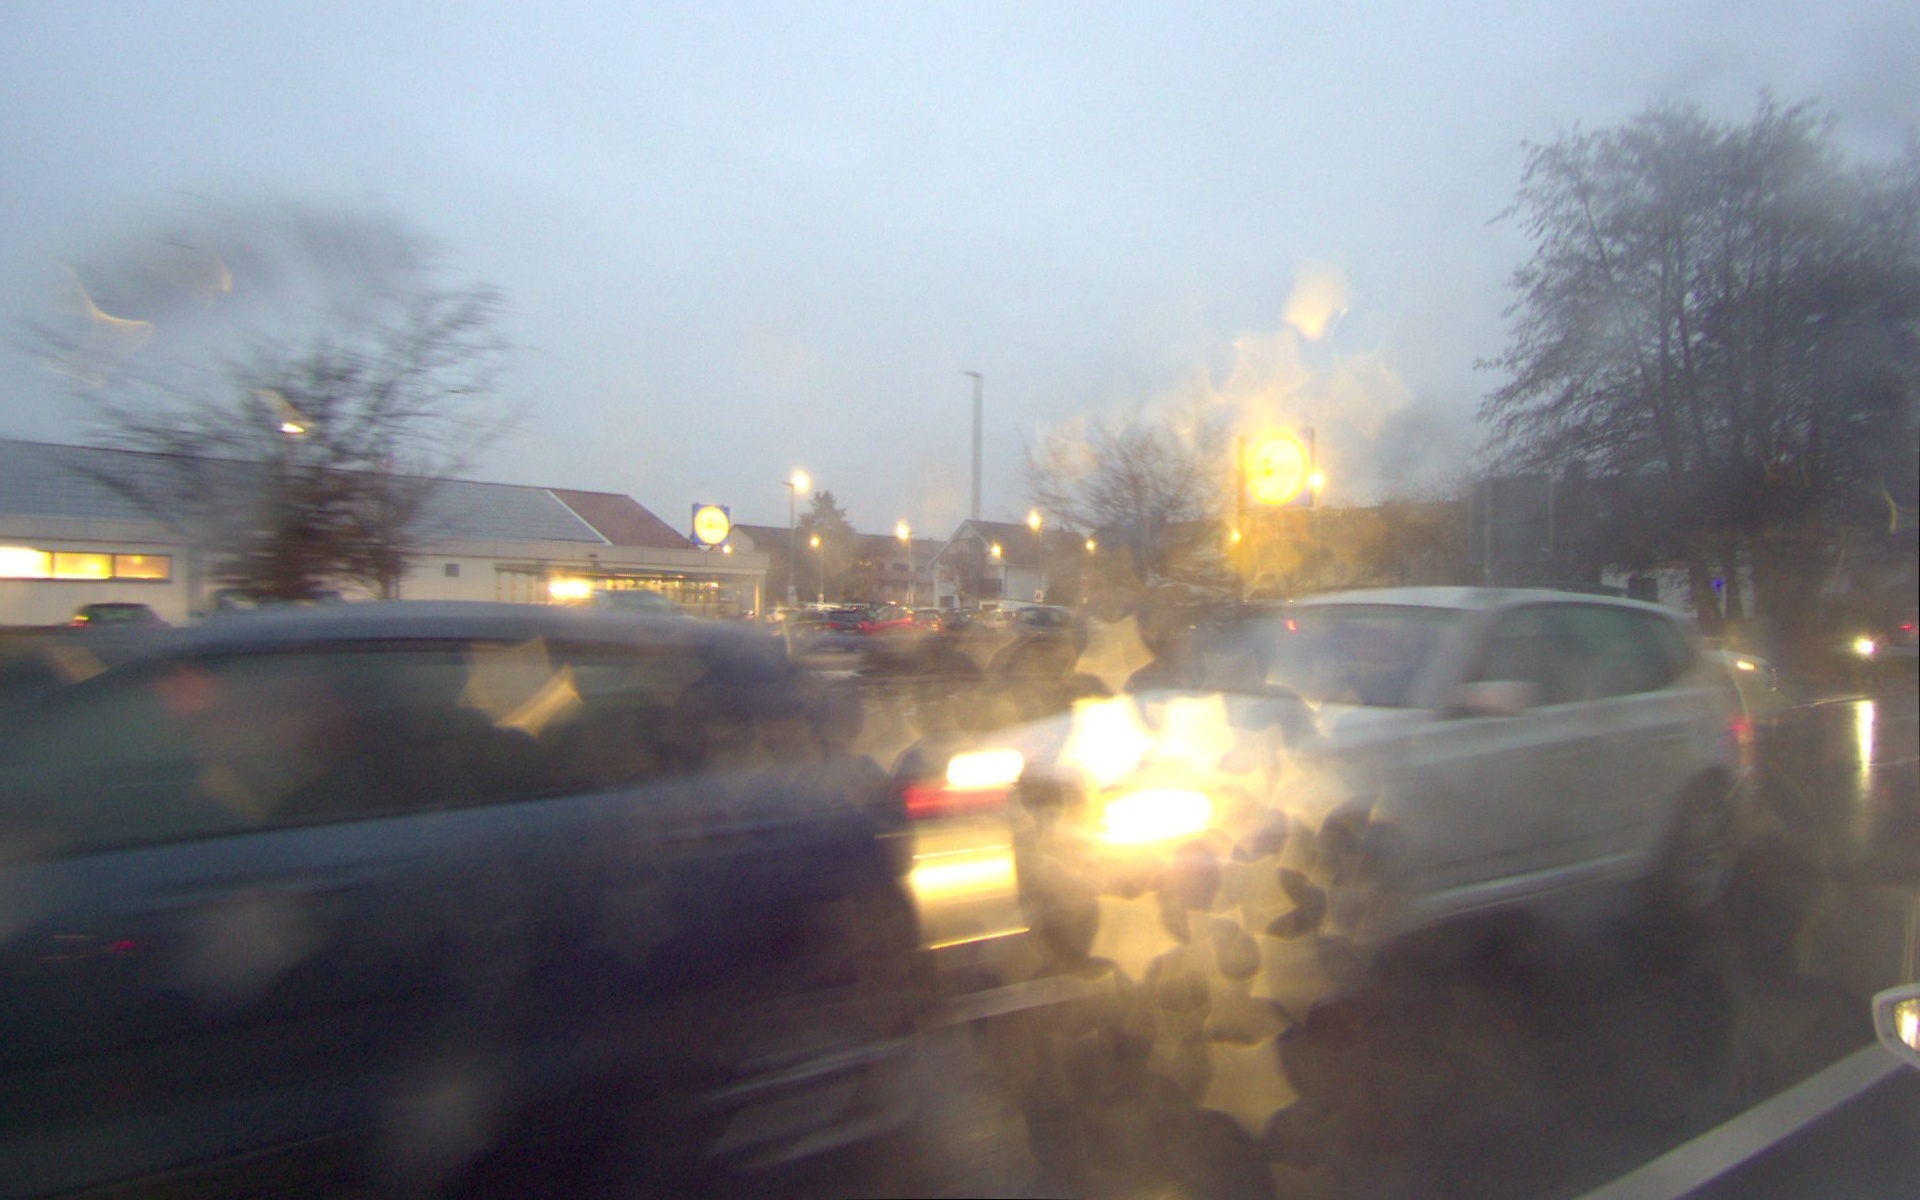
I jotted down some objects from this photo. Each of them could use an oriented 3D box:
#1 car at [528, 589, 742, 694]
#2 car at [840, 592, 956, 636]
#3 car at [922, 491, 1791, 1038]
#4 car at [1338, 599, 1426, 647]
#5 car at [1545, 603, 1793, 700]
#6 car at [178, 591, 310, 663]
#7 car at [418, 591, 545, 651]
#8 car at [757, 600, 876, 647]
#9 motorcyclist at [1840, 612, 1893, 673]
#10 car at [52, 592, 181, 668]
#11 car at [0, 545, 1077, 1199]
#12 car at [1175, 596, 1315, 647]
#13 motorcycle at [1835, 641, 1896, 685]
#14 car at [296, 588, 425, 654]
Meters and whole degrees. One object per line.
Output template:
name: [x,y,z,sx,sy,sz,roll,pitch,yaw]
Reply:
car: [-6.286,0.686,19.077,2.019,1.734,4.723,1,0,-44]
car: [-2.402,0.534,38.026,2.041,1.584,4.388,0,-1,-43]
car: [2.148,0.557,5.081,4.369,1.746,1.763,1,0,-30]
car: [22.555,1.171,53.601,5.229,2.310,2.259,-1,3,-42]
car: [15.724,1.054,22.433,1.887,1.722,4.185,1,2,-43]
car: [-17.483,0.634,24.447,2.041,1.584,4.388,0,-1,-43]
car: [-13.733,0.591,28.725,2.041,1.584,4.388,0,-1,-43]
car: [-5.167,0.828,35.790,2.041,1.584,4.388,0,-1,-43]
motorcyclist: [23.239,1.075,25.755,0.901,1.505,0.858,2,0,-39]
car: [-19.555,0.671,23.218,2.041,1.584,4.388,0,-1,-43]
car: [-1.826,0.689,2.747,3.991,1.514,1.765,1,-2,-28]
car: [10.021,0.709,35.512,4.355,1.694,1.959,0,1,40]
motorcycle: [23.262,1.585,25.796,2.092,1.037,0.858,2,0,-39]
car: [-15.898,0.554,26.537,2.041,1.584,4.388,0,-1,-43]
